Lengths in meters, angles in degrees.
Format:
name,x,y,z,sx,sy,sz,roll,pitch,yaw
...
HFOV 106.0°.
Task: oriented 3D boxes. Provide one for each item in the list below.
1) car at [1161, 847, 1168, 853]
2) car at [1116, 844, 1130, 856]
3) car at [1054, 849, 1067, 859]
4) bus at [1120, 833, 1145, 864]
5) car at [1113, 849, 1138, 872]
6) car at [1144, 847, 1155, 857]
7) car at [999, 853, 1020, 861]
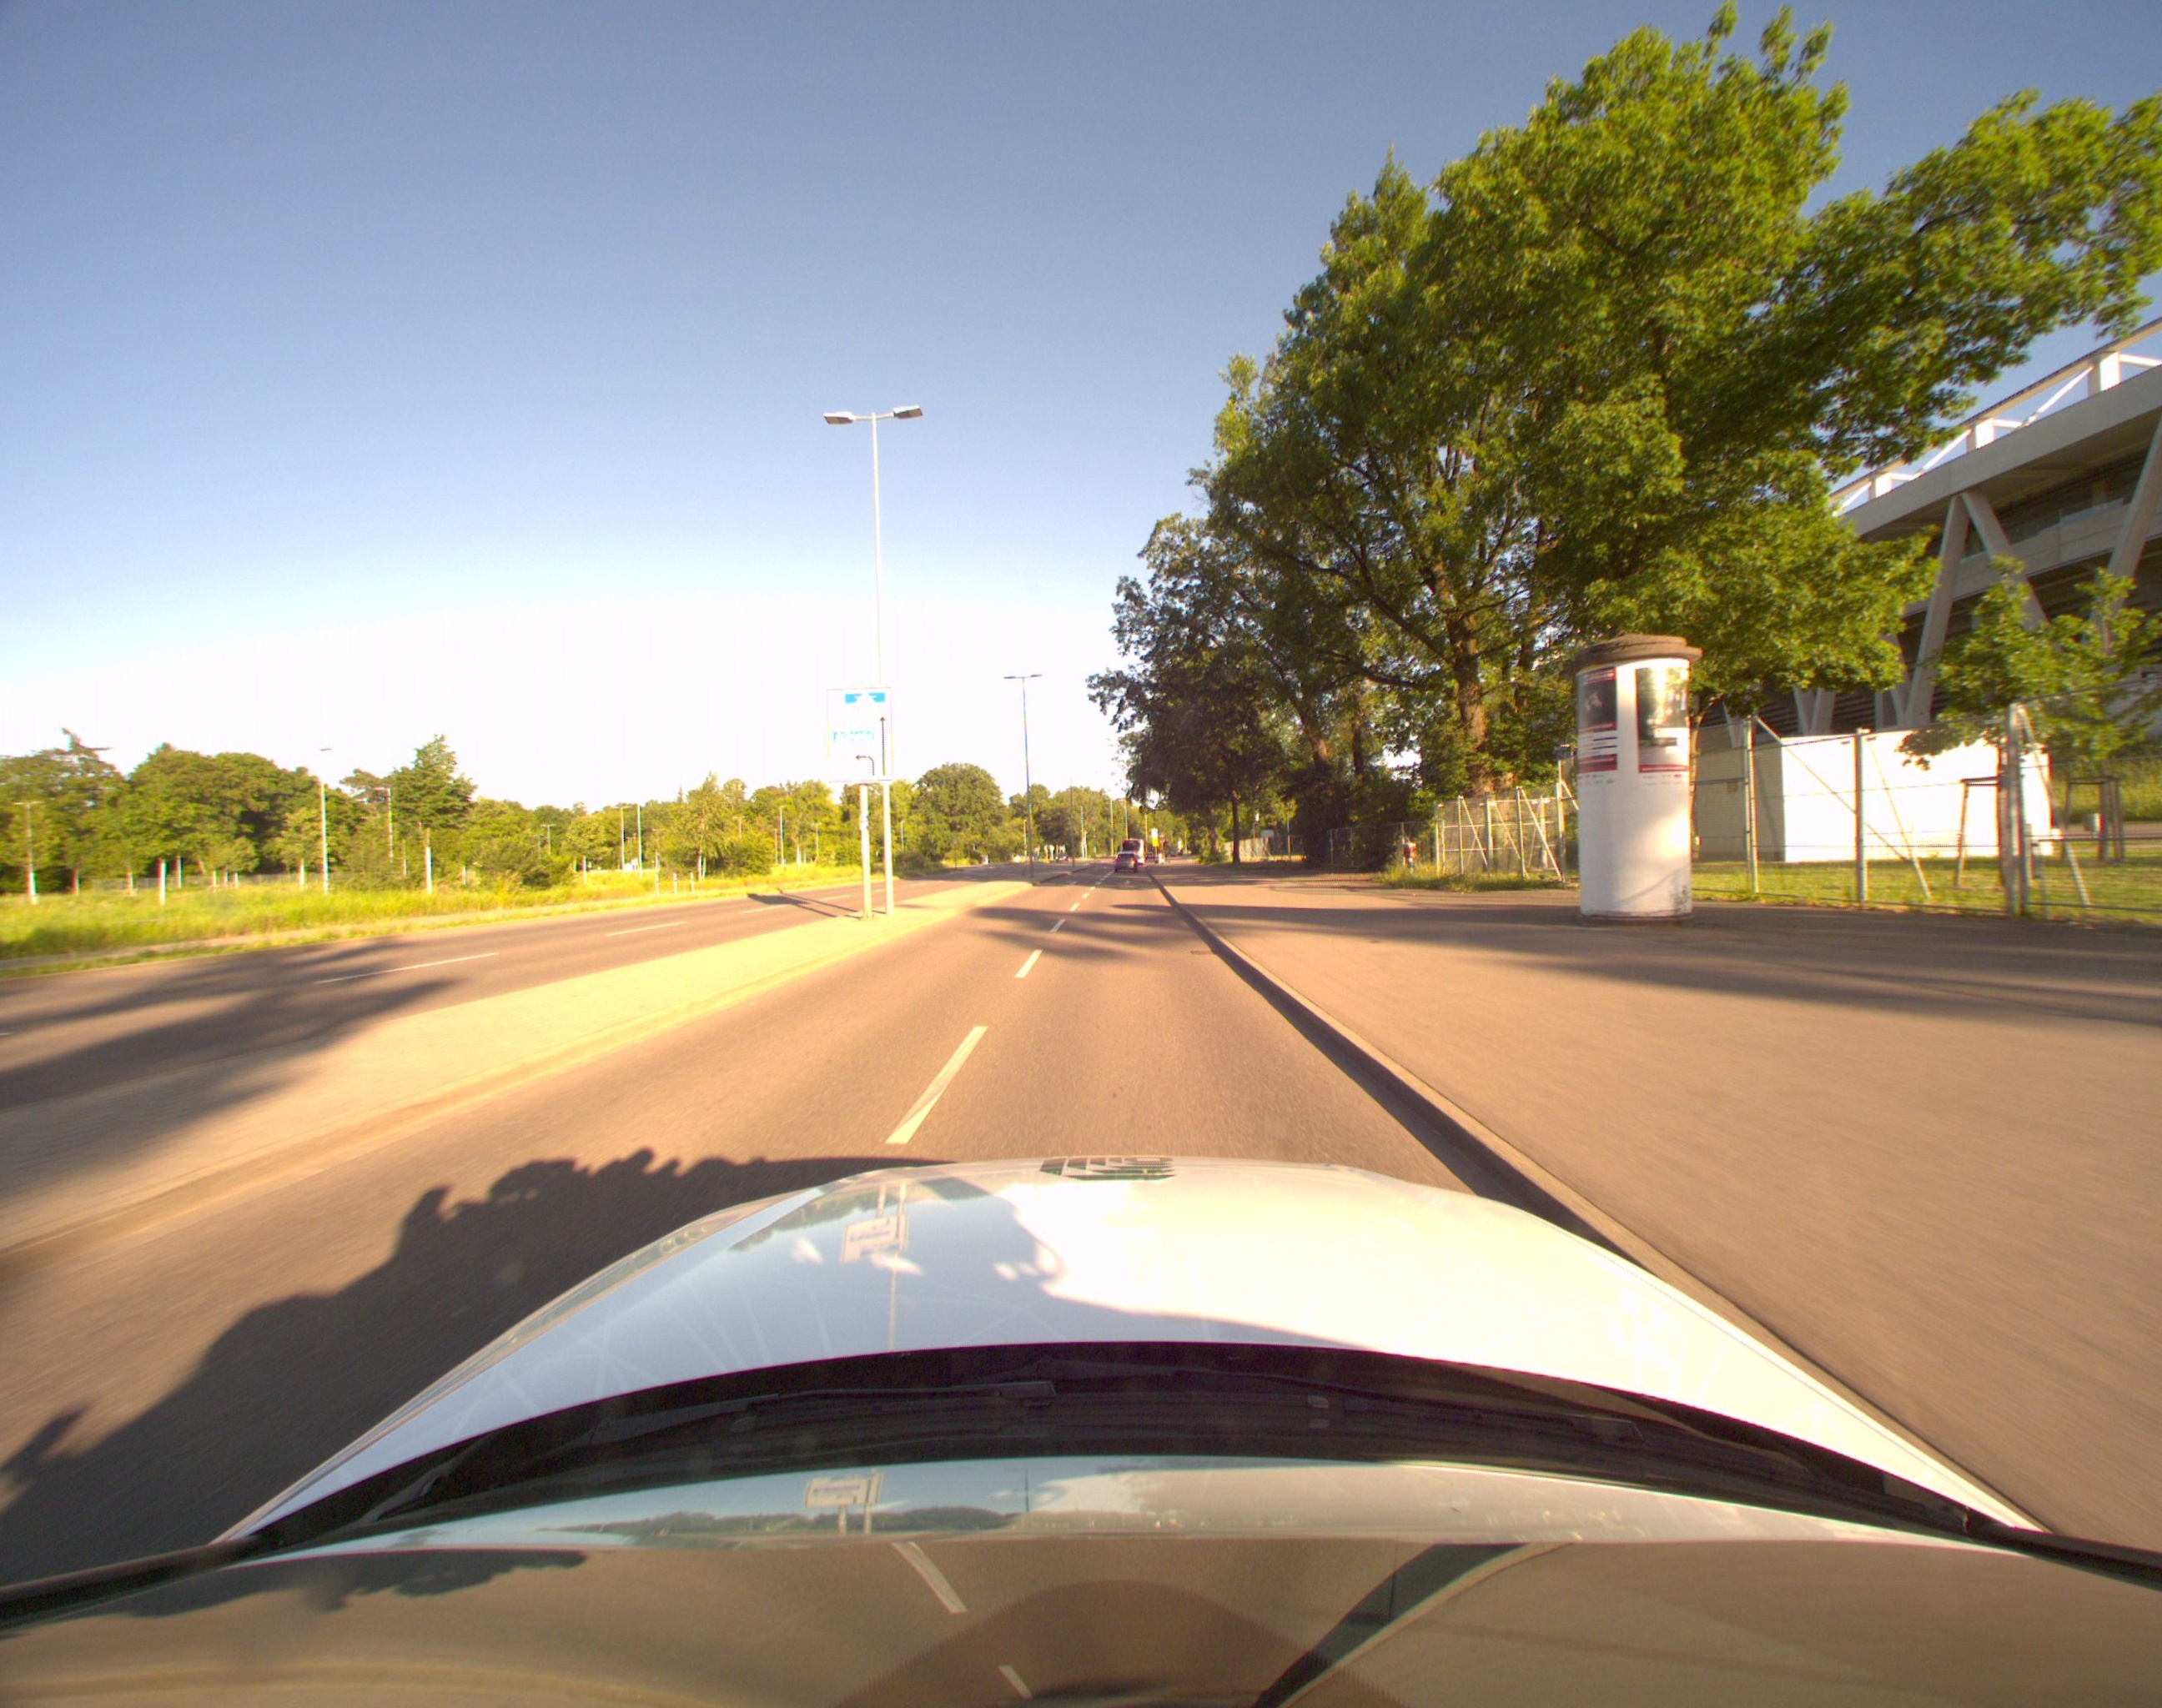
name,x,y,z,sx,sy,sz,roll,pitch,yaw
car,21.314,-1.009,207.266,1.585,1.605,3.587,0,0,3
car,6.242,-0.577,121.773,1.873,1.765,4.002,-2,1,2
car,-3.557,-0.021,142.572,1.856,1.684,3.774,-3,0,2
bus,5.888,-0.665,93.615,2.595,3.368,7.979,-1,1,2
car,3.616,0.494,66.531,1.873,1.765,4.002,-2,1,2
car,12.647,-0.431,150.112,1.853,1.684,3.779,-3,0,6
car,-13.832,0.503,157.995,3.688,1.354,1.721,-3,0,-30
